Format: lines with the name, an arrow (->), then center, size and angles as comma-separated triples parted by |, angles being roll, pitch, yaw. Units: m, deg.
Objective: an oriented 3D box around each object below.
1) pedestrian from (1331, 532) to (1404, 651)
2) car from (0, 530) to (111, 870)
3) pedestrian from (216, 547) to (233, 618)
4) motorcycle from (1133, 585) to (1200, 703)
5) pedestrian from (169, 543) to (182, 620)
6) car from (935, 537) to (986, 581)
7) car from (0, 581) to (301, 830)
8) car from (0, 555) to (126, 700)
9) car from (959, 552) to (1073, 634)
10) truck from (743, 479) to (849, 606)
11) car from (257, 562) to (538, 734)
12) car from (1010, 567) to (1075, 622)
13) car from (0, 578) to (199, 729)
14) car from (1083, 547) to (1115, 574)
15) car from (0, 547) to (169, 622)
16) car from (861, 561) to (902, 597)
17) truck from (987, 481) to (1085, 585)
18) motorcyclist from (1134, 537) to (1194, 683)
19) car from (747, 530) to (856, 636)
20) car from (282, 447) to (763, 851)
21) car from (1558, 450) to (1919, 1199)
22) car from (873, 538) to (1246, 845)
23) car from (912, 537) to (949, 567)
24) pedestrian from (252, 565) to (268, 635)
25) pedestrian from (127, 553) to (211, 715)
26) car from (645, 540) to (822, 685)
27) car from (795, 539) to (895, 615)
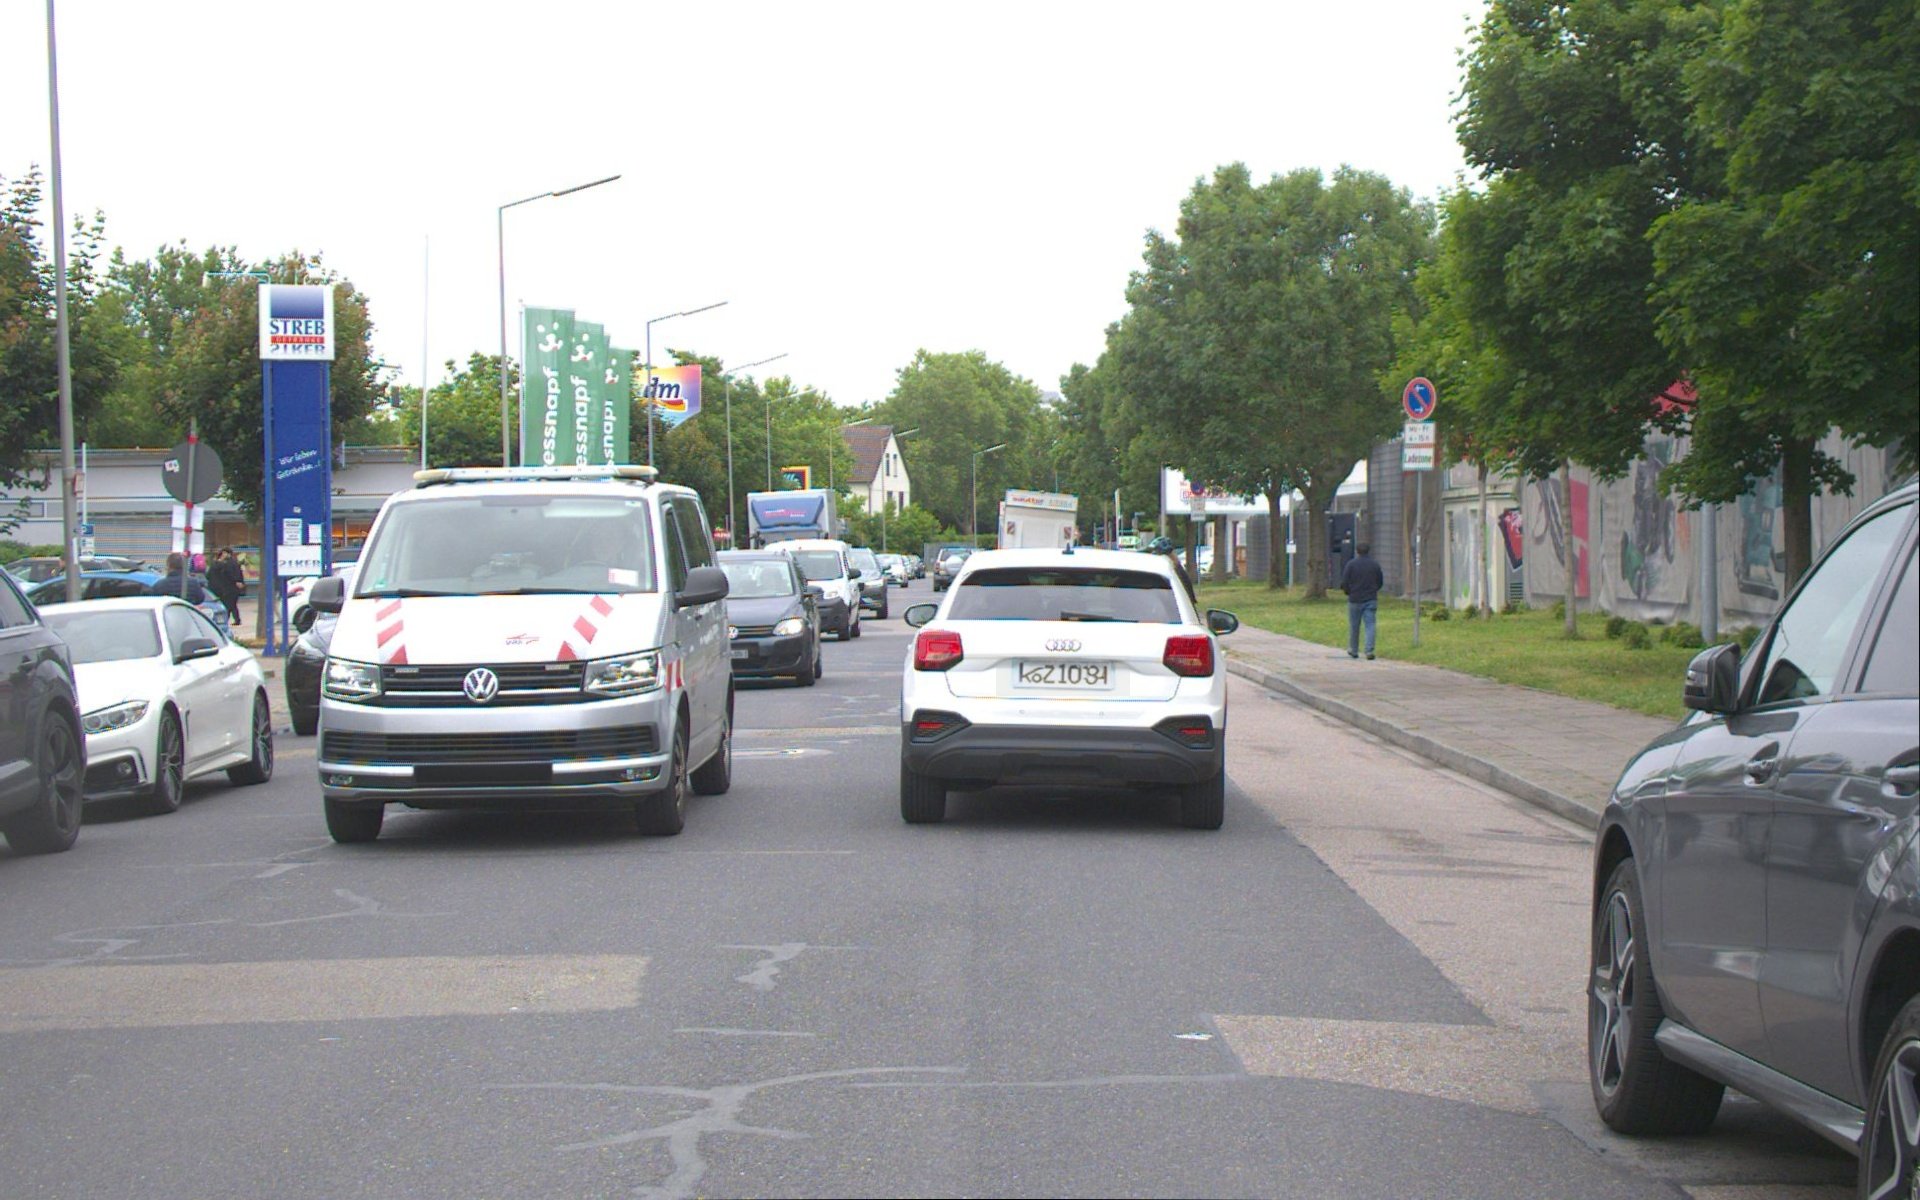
pedestrian -> 5.697, -0.119, 48.146 | 0.919, 1.629, 0.852 | 1, 0, 2
car -> -5.748, 0.564, 16.729 | 1.865, 1.686, 4.729 | -4, 1, 1
pedestrian -> -16.433, -0.392, 76.818 | 0.359, 1.565, 0.504 | -1, 1, -13
motorcycle -> 2.173, 0.448, 36.338 | 0.641, 1.174, 2.113 | -1, 1, 2
pedestrian -> -17.736, -0.425, 77.717 | 0.262, 1.724, 0.422 | -1, 1, -12
car -> -0.004, -1.612, 134.054 | 1.869, 1.656, 4.000 | -1, 1, -1
car -> -5.714, 0.653, 22.863 | 1.698, 1.363, 4.518 | -5, 1, 0
car -> -11.886, 0.282, 40.000 | 3.873, 1.615, 1.928 | 1, 1, 1
car -> 0.968, -0.149, 61.663 | 1.937, 1.362, 4.000 | -1, 1, 0
truck -> -5.308, -1.876, 112.184 | 2.973, 3.942, 6.405 | -2, 1, 1
car -> -5.381, 0.411, 33.419 | 1.946, 1.521, 4.403 | -1, 1, 1
car -> 2.774, -0.197, 116.734 | 1.993, 1.800, 4.000 | 1, 0, -1
car -> -12.580, 0.723, 47.325 | 3.928, 2.007, 1.761 | 0, 1, -6
car -> 8.913, -2.521, 220.884 | 1.886, 1.677, 4.254 | 2, 1, 1
car -> -20.575, -0.368, 79.732 | 3.987, 1.663, 1.876 | -1, 1, 1
car -> -3.405, -0.922, 149.780 | 1.599, 1.523, 3.528 | -2, 0, 1
truck -> 2.707, -2.384, 126.035 | 3.135, 3.572, 10.051 | 1, 0, -1
motorcyclist -> 2.182, 0.099, 36.812 | 0.625, 1.548, 0.604 | -1, 1, 2
car -> -2.775, -0.325, 60.955 | 1.689, 1.755, 4.135 | -2, 1, 0
car -> -2.343, 0.238, 19.750 | 1.927, 2.007, 4.955 | -1, 0, 2
car -> 2.638, 0.621, 7.403 | 1.908, 1.735, 4.480 | 2, 1, 1
car -> 0.552, 0.446, 20.062 | 1.886, 1.526, 4.254 | 2, 1, 1
car -> -1.723, -2.769, 197.574 | 1.774, 1.649, 3.749 | 1, 0, -6
pedestrian -> -15.780, -0.003, 77.500 | 0.330, 1.565, 0.504 | -1, 1, -13
pedestrian -> -8.449, 0.354, 36.755 | 0.775, 1.709, 0.697 | 0, 1, -4
car -> -2.589, 0.107, 40.030 | 1.729, 1.566, 3.946 | -2, 1, 1
car -> -2.638, -0.552, 79.762 | 1.933, 1.678, 4.495 | -1, 1, 2
